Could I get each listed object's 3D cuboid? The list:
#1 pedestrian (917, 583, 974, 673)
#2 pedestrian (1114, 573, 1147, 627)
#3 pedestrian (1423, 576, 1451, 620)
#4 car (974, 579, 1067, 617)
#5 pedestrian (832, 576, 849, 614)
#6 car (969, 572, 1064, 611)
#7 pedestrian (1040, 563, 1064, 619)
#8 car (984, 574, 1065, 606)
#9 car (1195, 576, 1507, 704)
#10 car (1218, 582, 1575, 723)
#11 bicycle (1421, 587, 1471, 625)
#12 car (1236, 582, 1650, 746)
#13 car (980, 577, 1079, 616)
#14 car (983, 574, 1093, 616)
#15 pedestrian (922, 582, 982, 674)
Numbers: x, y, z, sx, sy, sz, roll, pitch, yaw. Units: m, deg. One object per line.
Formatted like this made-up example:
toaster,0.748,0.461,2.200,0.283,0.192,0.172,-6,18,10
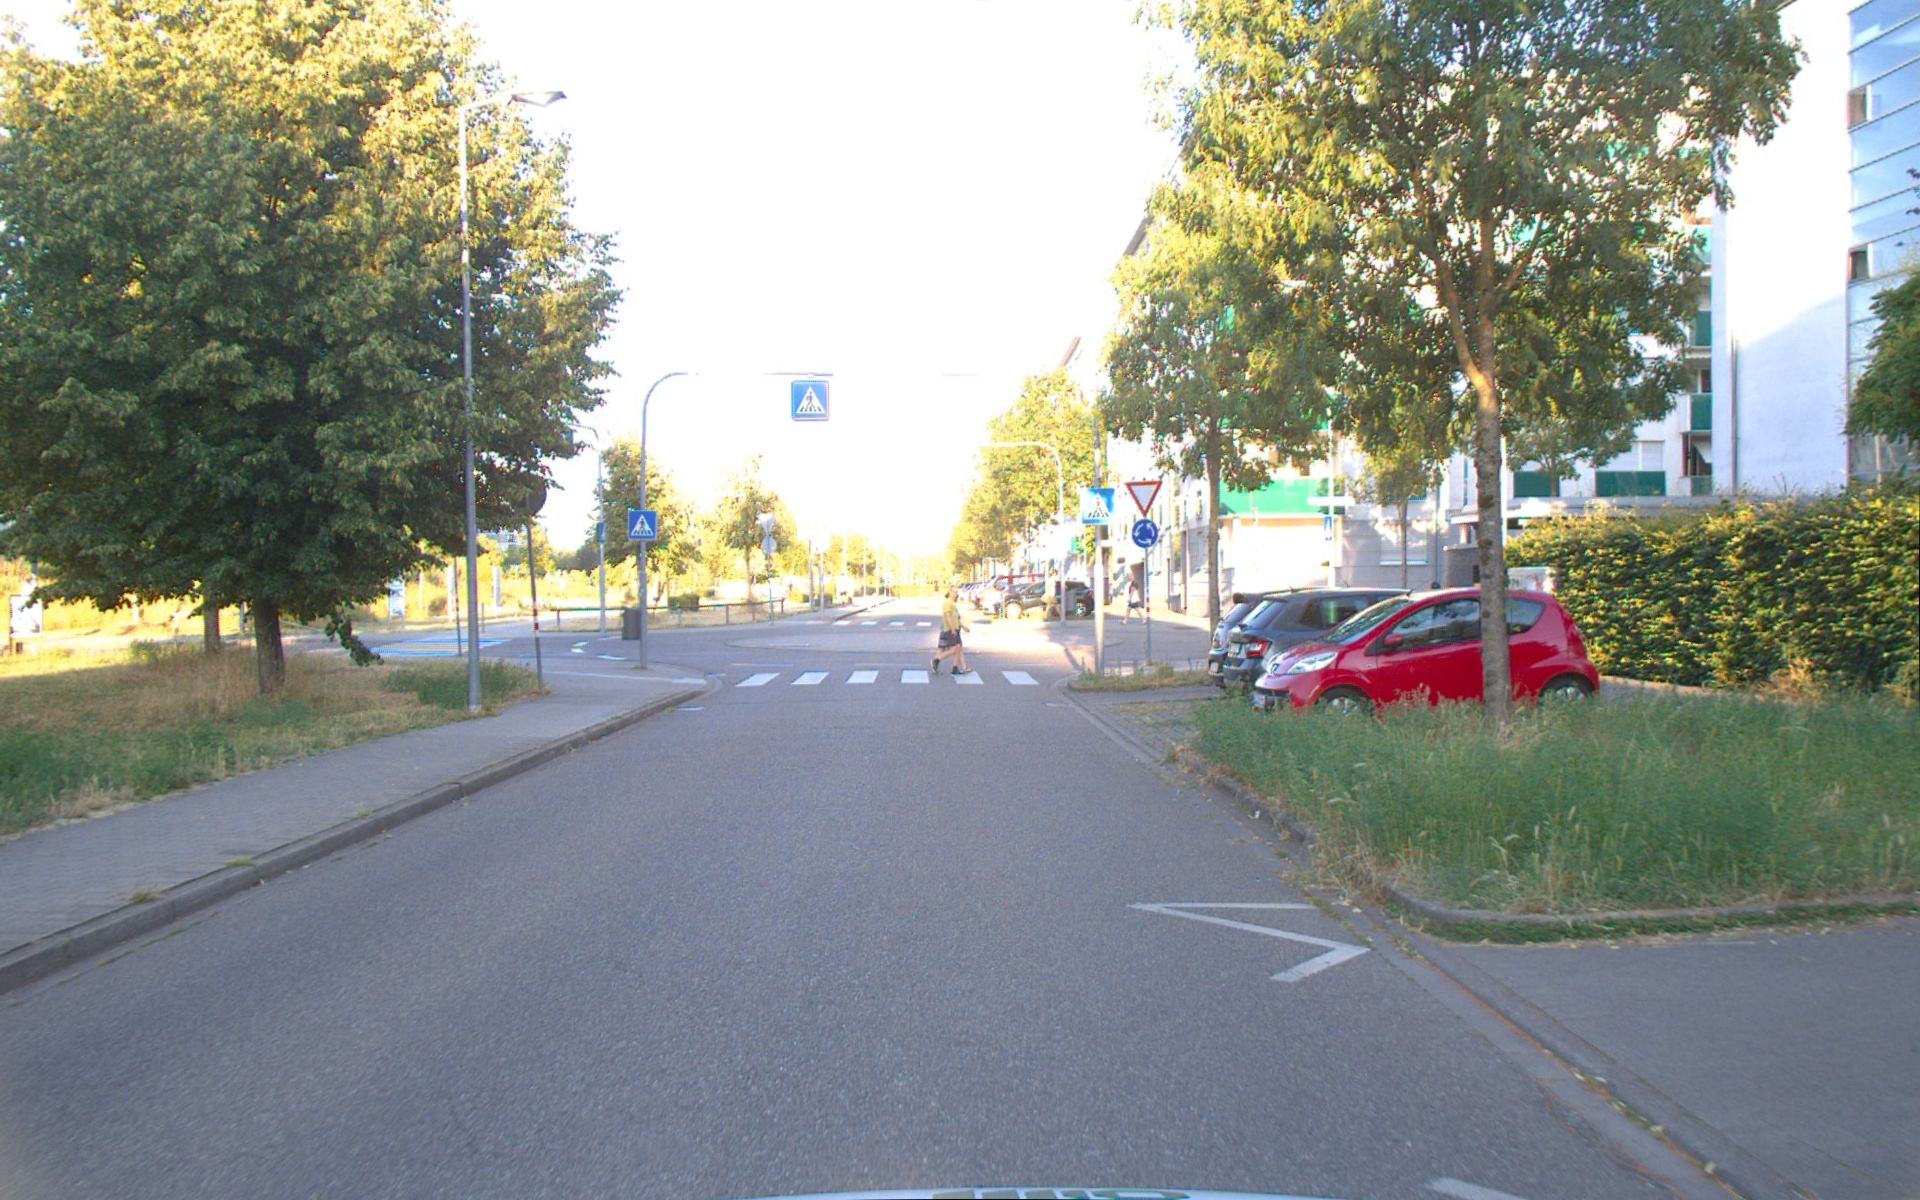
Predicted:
pedestrian,-0.290,0.529,32.264,0.966,1.723,0.698,-1,0,-13
pedestrian,5.839,-0.007,56.724,0.984,1.819,0.761,1,0,-8
pedestrian,15.236,-0.068,52.839,0.644,1.379,0.802,-1,0,-4
car,2.725,-0.098,75.186,4.176,1.624,2.000,-1,0,0
pedestrian,-6.505,-0.283,90.036,0.851,2.049,0.787,-1,0,-12
car,3.065,-0.473,90.478,4.906,2.081,2.248,-1,0,-6
pedestrian,3.369,-0.337,60.638,0.828,2.049,0.944,-1,0,4
car,3.384,-0.511,87.429,4.177,1.624,1.999,-1,0,-2
car,5.162,0.499,22.115,3.726,1.535,1.678,-1,1,-3
car,5.056,0.582,19.463,3.727,1.535,1.678,-1,0,-3
bicycle,15.286,0.169,52.069,0.682,1.171,2.459,-1,0,-4
car,4.862,0.612,16.963,3.727,1.535,1.678,-1,0,-3
car,3.021,-0.150,72.459,4.266,1.624,2.000,-1,0,0
car,3.142,-0.215,67.281,4.393,1.624,2.000,-1,0,0
pedestrian,-0.158,0.529,31.581,1.001,1.723,0.757,0,0,-12
